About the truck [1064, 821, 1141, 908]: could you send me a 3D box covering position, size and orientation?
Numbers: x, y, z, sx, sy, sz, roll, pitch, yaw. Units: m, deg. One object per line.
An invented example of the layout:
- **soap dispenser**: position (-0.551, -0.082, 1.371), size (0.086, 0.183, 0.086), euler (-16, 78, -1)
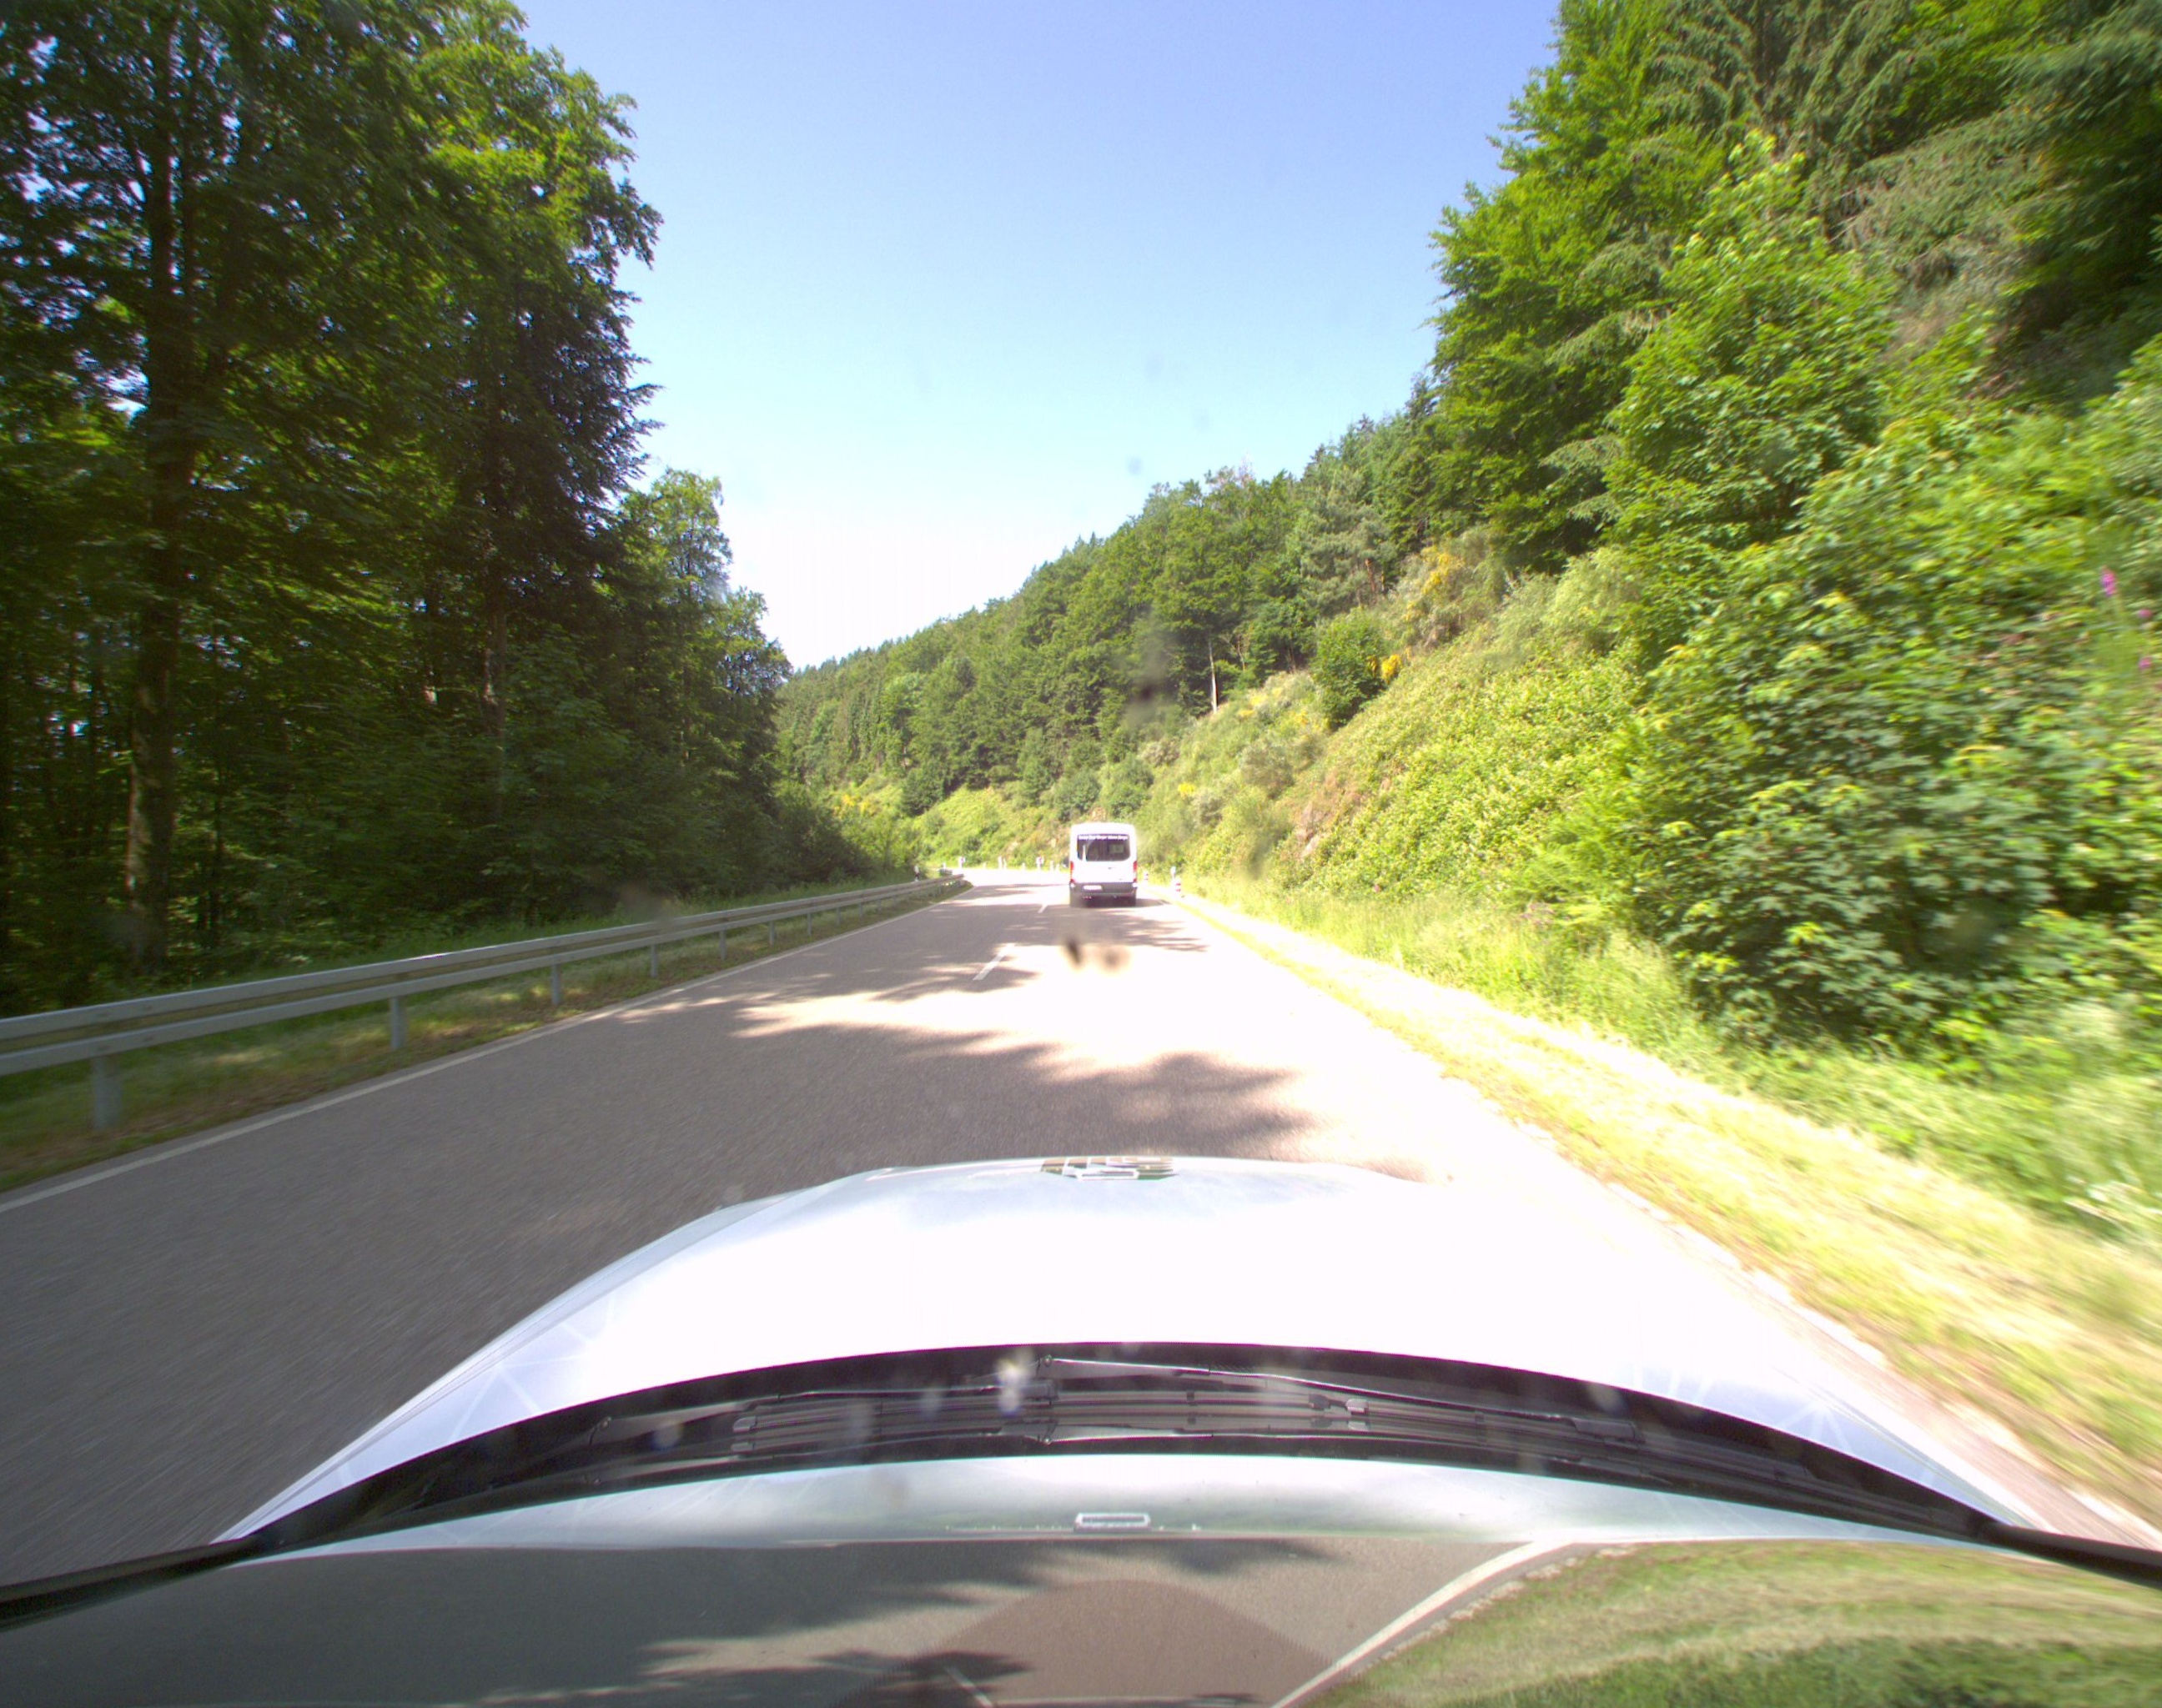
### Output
- **truck**: position (0.568, 0.320, 25.752), size (2.079, 2.460, 4.870), euler (-1, 0, -3)
